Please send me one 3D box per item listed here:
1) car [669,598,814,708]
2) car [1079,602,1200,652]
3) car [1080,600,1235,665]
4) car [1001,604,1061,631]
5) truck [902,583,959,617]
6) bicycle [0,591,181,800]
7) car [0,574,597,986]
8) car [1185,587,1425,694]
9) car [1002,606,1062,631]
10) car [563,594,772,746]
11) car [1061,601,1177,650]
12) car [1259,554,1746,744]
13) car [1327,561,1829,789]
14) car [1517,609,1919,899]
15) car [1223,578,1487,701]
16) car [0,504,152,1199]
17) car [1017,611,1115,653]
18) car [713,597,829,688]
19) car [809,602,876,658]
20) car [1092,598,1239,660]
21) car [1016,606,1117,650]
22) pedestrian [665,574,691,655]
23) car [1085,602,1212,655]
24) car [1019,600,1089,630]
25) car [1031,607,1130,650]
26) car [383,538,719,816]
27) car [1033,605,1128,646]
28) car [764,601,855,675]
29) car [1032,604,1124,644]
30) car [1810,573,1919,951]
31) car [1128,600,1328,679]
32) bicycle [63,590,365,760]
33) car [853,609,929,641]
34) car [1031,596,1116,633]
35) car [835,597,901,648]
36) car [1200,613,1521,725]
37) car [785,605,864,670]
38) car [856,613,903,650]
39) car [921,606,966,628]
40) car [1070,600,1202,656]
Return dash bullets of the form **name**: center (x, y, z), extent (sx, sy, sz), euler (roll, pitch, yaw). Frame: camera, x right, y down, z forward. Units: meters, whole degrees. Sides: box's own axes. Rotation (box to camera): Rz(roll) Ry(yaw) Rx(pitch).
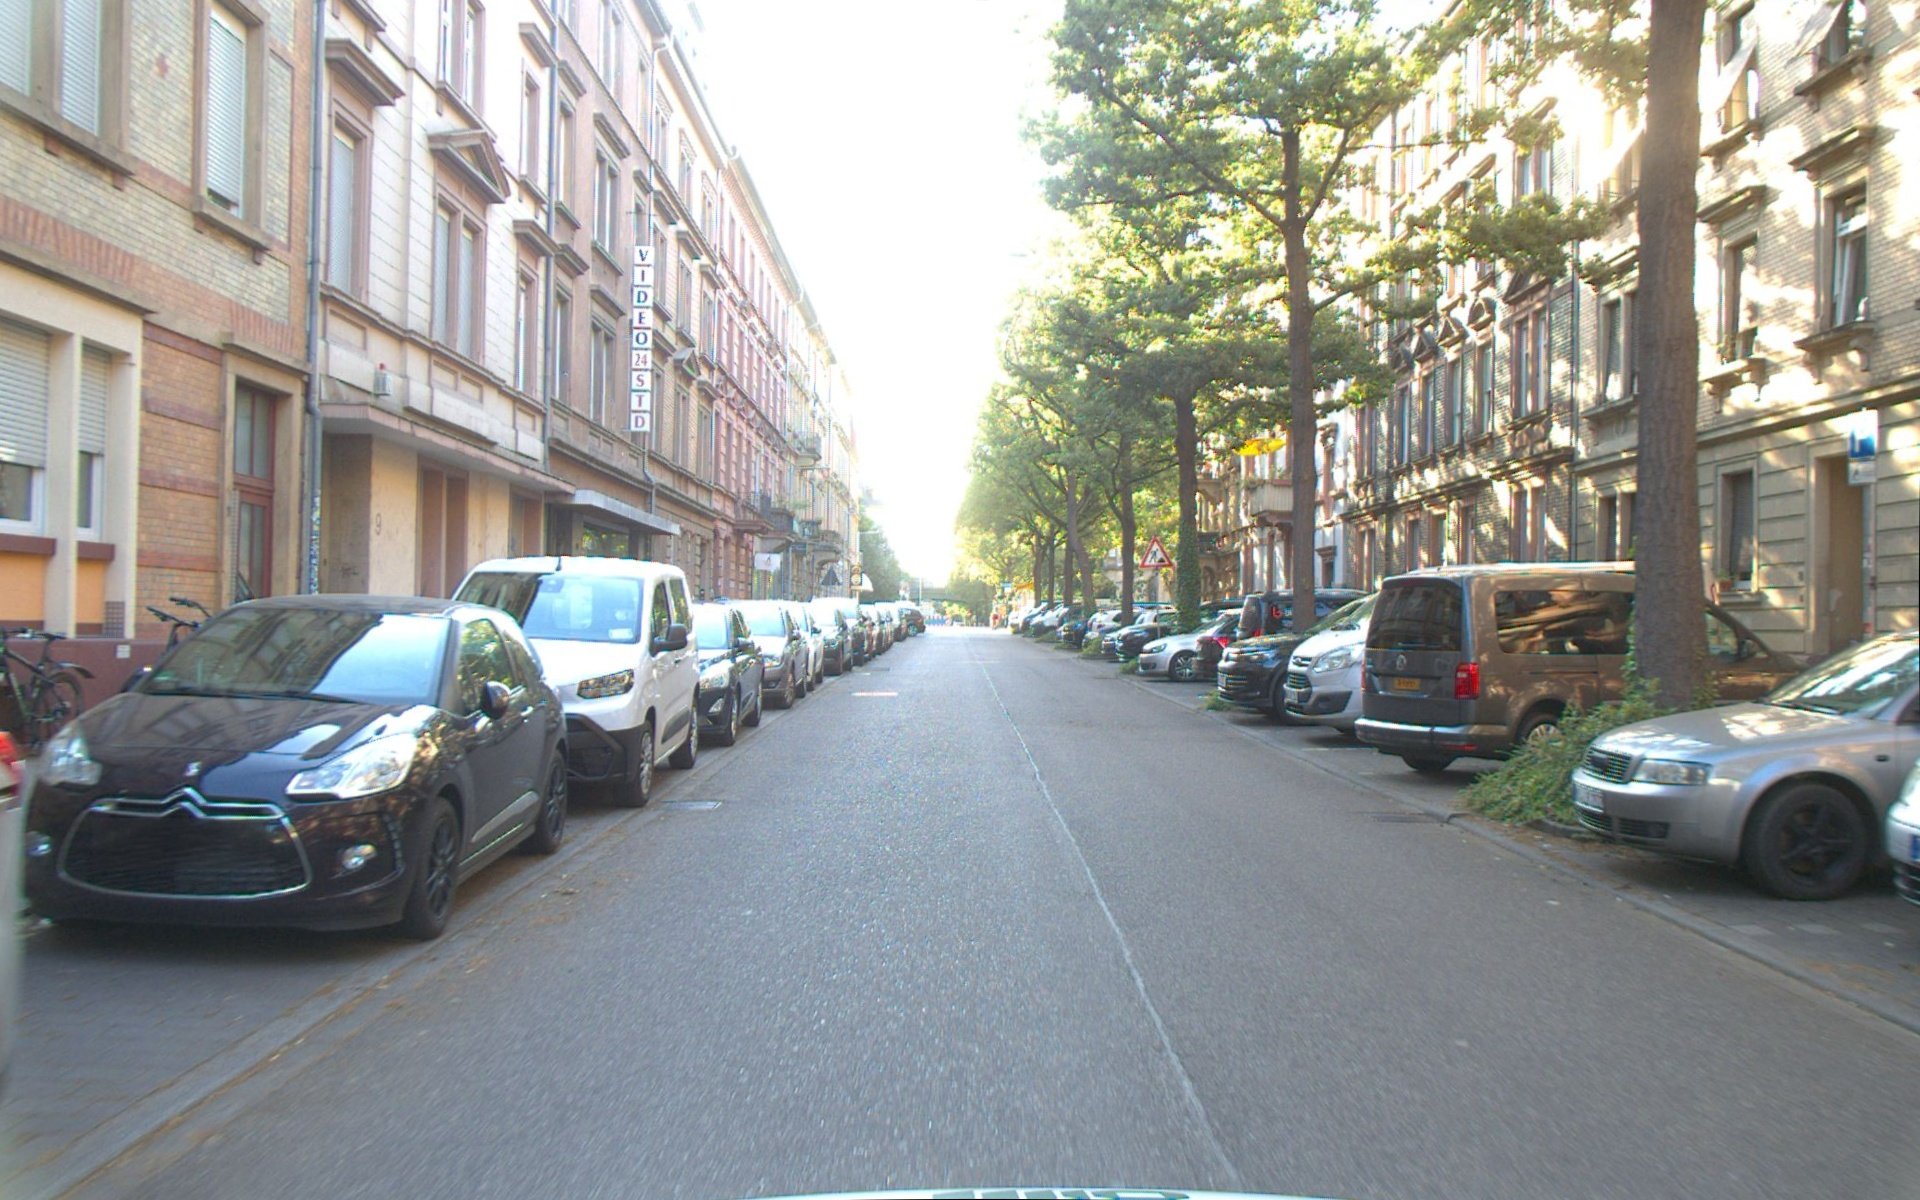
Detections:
- **car**: center (-3.162, 0.731, 24.591), extent (1.723, 1.498, 4.058), euler (0, 0, -2)
- **car**: center (6.105, 0.914, 56.514), extent (3.779, 1.601, 1.714), euler (-1, 0, -9)
- **car**: center (5.245, 0.844, 44.153), extent (3.779, 1.601, 1.714), euler (-1, 0, -9)
- **car**: center (4.556, 1.118, 106.578), extent (3.772, 1.601, 1.717), euler (-1, 0, -2)
- **truck**: center (-3.821, 0.043, 212.918), extent (7.168, 4.019, 2.405), euler (3, -1, -37)
- **bicycle**: center (-6.725, 0.611, 11.222), extent (1.020, 1.342, 3.999), euler (2, 0, -1)
- **car**: center (-3.088, 0.687, 8.246), extent (1.723, 1.493, 3.998), euler (3, 0, -2)
- **car**: center (5.989, 0.688, 28.951), extent (3.774, 1.729, 1.716), euler (-1, 0, -4)
- **car**: center (4.735, 1.212, 109.044), extent (3.772, 1.601, 1.717), euler (-1, 0, -2)
- **car**: center (-3.143, 0.703, 18.490), extent (1.723, 1.498, 4.058), euler (0, 0, -2)
- **car**: center (5.618, 0.884, 58.543), extent (3.779, 1.601, 1.714), euler (-1, 0, -9)
- **car**: center (6.095, 0.532, 18.986), extent (4.954, 1.959, 1.835), euler (-1, 0, -1)
- **car**: center (5.684, 0.612, 15.264), extent (4.159, 1.826, 1.824), euler (-1, 0, -20)
- **car**: center (5.639, 0.784, 9.635), extent (4.139, 1.428, 1.833), euler (-1, 0, -5)
- **car**: center (6.319, 0.621, 26.692), extent (3.774, 1.828, 1.716), euler (-1, 0, -4)
- **car**: center (-2.986, 0.561, 2.106), extent (1.718, 1.636, 4.383), euler (2, 0, 0)
- **car**: center (4.219, 1.268, 66.184), extent (3.771, 1.601, 1.718), euler (-1, 0, 0)
- **car**: center (-3.293, 0.717, 29.458), extent (1.723, 1.498, 4.058), euler (0, 0, -2)
- **car**: center (-3.295, 0.822, 46.966), extent (1.723, 1.498, 4.058), euler (0, 0, -2)
- **car**: center (5.770, 0.805, 46.567), extent (3.779, 1.601, 1.714), euler (-1, 0, -9)
- **car**: center (4.110, 1.071, 64.060), extent (3.771, 1.601, 1.718), euler (-1, 0, 0)
- **pedestrian**: center (-6.727, 0.347, 39.471), extent (0.488, 1.894, 0.463), euler (2, -1, -1)
- **car**: center (6.113, 0.914, 53.903), extent (3.779, 1.601, 1.714), euler (-1, 0, -9)
- **car**: center (5.299, 0.858, 93.593), extent (3.772, 1.601, 1.717), euler (-1, 0, -2)
- **car**: center (4.779, 1.132, 66.096), extent (3.772, 1.601, 1.717), euler (-1, 0, -2)
- **car**: center (-3.089, 0.529, 13.440), extent (1.723, 1.874, 4.528), euler (0, 0, -2)
- **car**: center (4.988, 1.061, 68.801), extent (3.772, 1.601, 1.717), euler (-1, 0, -2)
- **car**: center (-3.193, 0.783, 35.711), extent (1.723, 1.498, 4.058), euler (0, 0, -2)
- **car**: center (5.069, 1.032, 71.384), extent (3.772, 1.601, 1.717), euler (-1, 0, -2)
- **car**: center (6.214, 0.654, 7.188), extent (4.139, 1.639, 1.833), euler (-1, 0, -5)
- **car**: center (5.491, 0.803, 34.199), extent (3.774, 1.505, 1.716), euler (-1, 0, -4)
- **bicycle**: center (-6.741, 0.613, 15.355), extent (1.020, 1.342, 3.999), euler (2, 0, -1)
- **car**: center (-3.471, 1.293, 83.645), extent (1.957, 1.512, 3.990), euler (-1, -3, 31)
- **car**: center (5.209, 0.684, 76.283), extent (3.772, 1.601, 1.717), euler (-1, 0, -2)
- **car**: center (-2.900, 0.758, 52.997), extent (1.953, 1.512, 3.998), euler (0, -2, -1)
- **car**: center (5.221, 0.878, 21.863), extent (3.774, 1.316, 1.716), euler (-1, 0, -4)
- **car**: center (-3.265, 0.881, 40.474), extent (1.723, 1.498, 4.058), euler (0, 0, -2)
- **car**: center (-3.533, 1.416, 73.112), extent (1.953, 1.512, 3.998), euler (0, -2, -1)
- **car**: center (-1.494, 1.541, 152.299), extent (3.902, 1.892, 1.752), euler (2, 0, 7)
- **car**: center (5.463, 0.858, 51.491), extent (3.779, 1.601, 1.714), euler (-1, 0, -9)
